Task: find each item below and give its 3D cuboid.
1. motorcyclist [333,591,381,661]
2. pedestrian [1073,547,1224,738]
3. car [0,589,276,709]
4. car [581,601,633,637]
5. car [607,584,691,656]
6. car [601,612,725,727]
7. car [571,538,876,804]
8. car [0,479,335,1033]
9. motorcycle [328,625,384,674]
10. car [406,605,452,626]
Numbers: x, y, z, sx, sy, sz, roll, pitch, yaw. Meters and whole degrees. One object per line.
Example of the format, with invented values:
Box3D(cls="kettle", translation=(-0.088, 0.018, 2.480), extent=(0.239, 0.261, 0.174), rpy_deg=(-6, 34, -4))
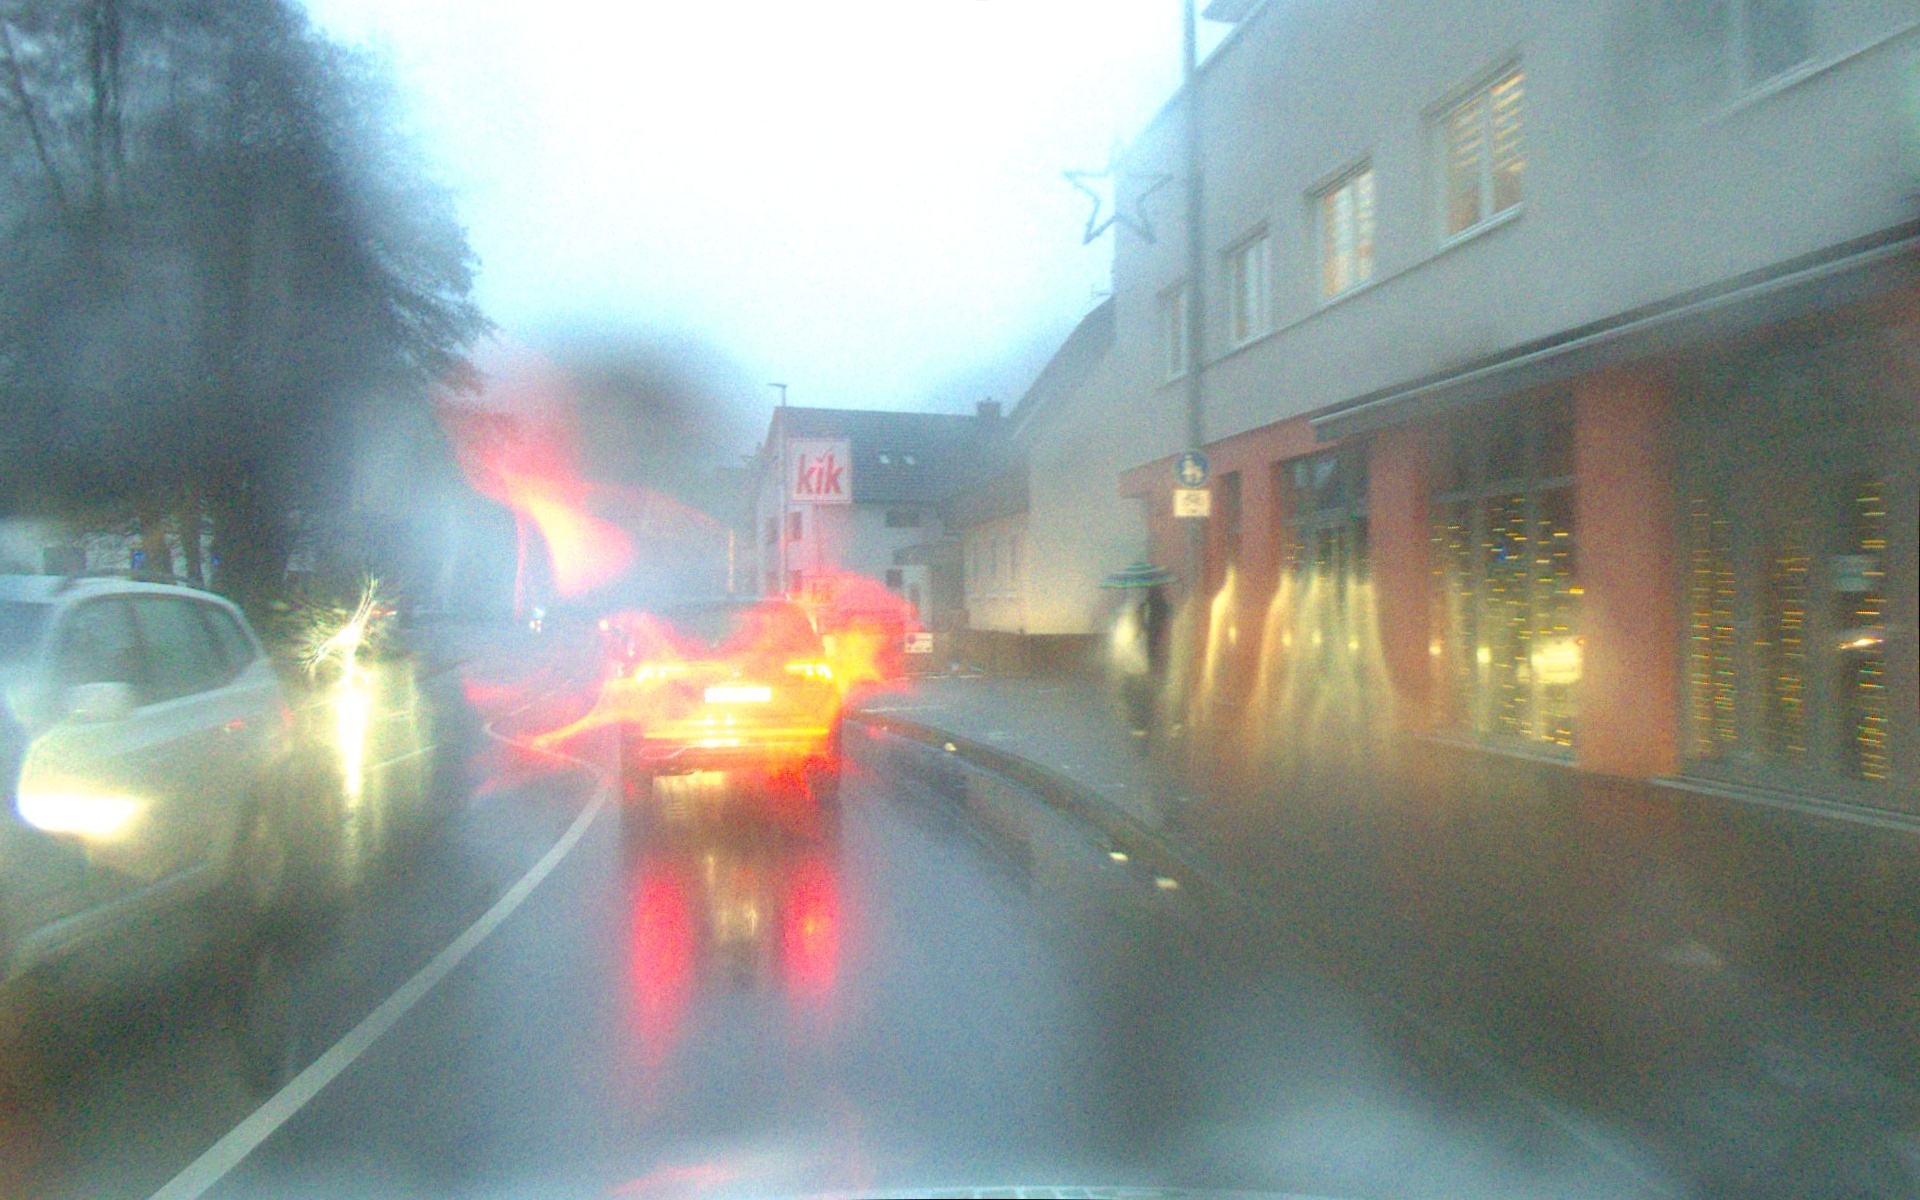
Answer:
Box3D(cls="motorcyclist", translation=(-13.207, 0.562, 36.230), extent=(0.850, 1.511, 0.906), rpy_deg=(1, -1, -13))
Box3D(cls="pedestrian", translation=(1.971, 0.431, 17.497), extent=(1.231, 1.898, 1.301), rpy_deg=(-2, 0, -9))
Box3D(cls="car", translation=(-13.301, 0.782, 26.451), extent=(4.162, 1.729, 1.889), rpy_deg=(3, -1, -19))
Box3D(cls="car", translation=(-14.262, 0.762, 66.685), extent=(1.812, 1.355, 3.921), rpy_deg=(-1, 0, -16))
Box3D(cls="car", translation=(-9.128, 0.586, 48.597), extent=(2.268, 1.972, 5.005), rpy_deg=(-1, -1, -11))
Box3D(cls="car", translation=(-4.867, 1.054, 26.793), extent=(1.825, 1.676, 3.988), rpy_deg=(0, 0, -12))
Box3D(cls="car", translation=(-2.189, 0.556, 15.059), extent=(2.267, 1.972, 5.006), rpy_deg=(-1, -1, -9))
Box3D(cls="car", translation=(-3.997, 0.498, 6.444), extent=(1.736, 1.753, 4.417), rpy_deg=(0, 0, -4))
Box3D(cls="motorcycle", translation=(-13.226, 1.074, 36.267), extent=(0.850, 1.042, 2.103), rpy_deg=(1, -1, -13))
Box3D(cls="car", translation=(-53.024, 1.552, 165.245), extent=(4.193, 2.049, 1.796), rpy_deg=(-1, 0, -26))
